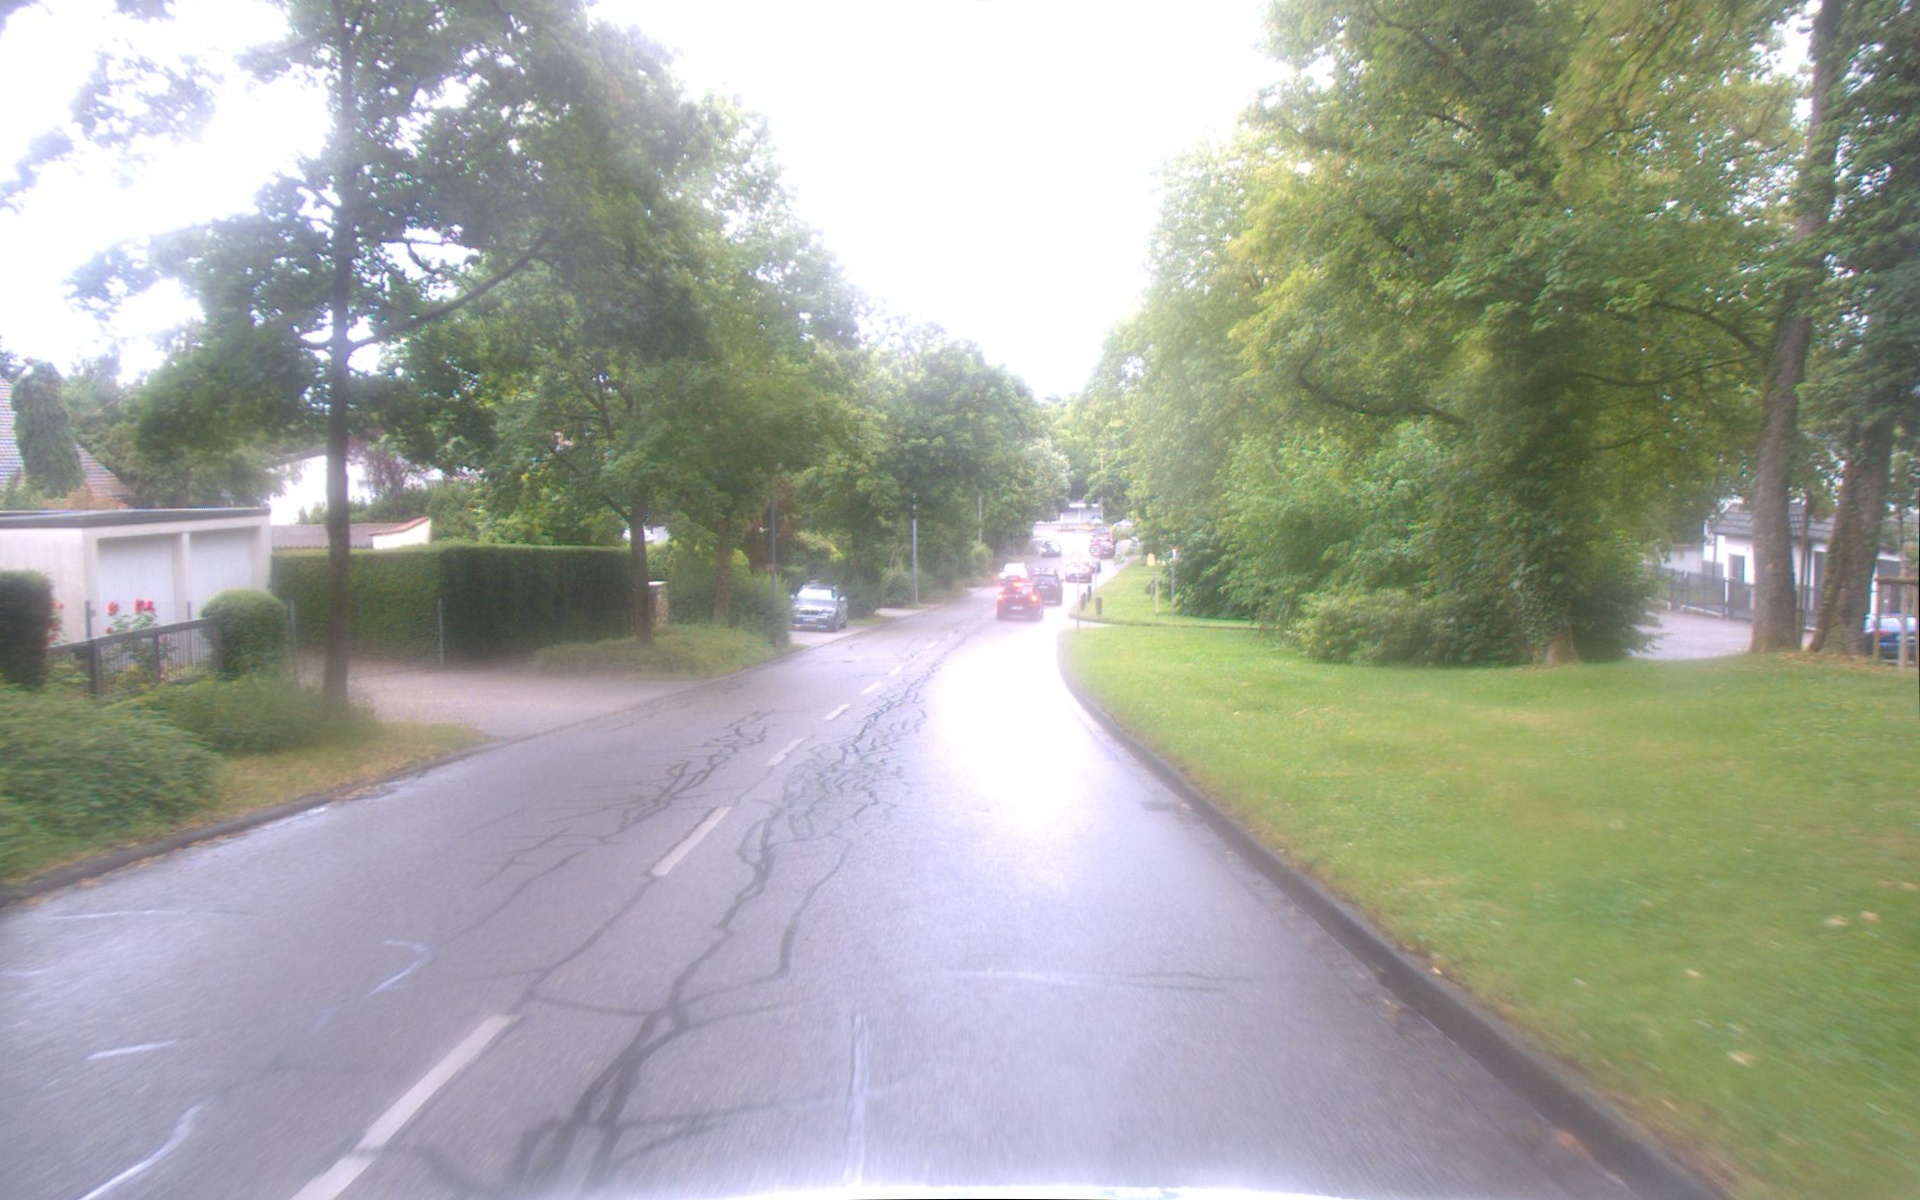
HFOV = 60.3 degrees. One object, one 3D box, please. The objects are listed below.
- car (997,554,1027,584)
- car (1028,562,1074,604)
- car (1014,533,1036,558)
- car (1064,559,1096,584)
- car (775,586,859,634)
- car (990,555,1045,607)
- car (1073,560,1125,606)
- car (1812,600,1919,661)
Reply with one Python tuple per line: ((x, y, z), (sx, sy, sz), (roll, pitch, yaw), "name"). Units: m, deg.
((3.545, -2.136, 113.004), (1.952, 1.683, 4.005), (0, 6, 3), "car")
((4.600, -0.862, 84.276), (1.953, 2.049, 3.998), (0, 1, -2), "car")
((6.086, -5.140, 155.705), (1.952, 2.047, 4.004), (0, 6, 0), "car")
((8.521, -2.018, 117.870), (1.819, 1.721, 3.998), (0, 1, -2), "car")
((-4.978, 0.319, 58.019), (1.951, 1.626, 4.014), (0, 0, 10), "car")
((2.635, -0.907, 76.702), (2.104, 2.047, 4.000), (0, 6, -4), "car")
((6.388, -0.779, 76.424), (1.953, 2.049, 3.998), (0, 0, -2), "car")
((26.146, 0.832, 47.395), (1.769, 1.659, 4.003), (0, 0, 7), "car")
